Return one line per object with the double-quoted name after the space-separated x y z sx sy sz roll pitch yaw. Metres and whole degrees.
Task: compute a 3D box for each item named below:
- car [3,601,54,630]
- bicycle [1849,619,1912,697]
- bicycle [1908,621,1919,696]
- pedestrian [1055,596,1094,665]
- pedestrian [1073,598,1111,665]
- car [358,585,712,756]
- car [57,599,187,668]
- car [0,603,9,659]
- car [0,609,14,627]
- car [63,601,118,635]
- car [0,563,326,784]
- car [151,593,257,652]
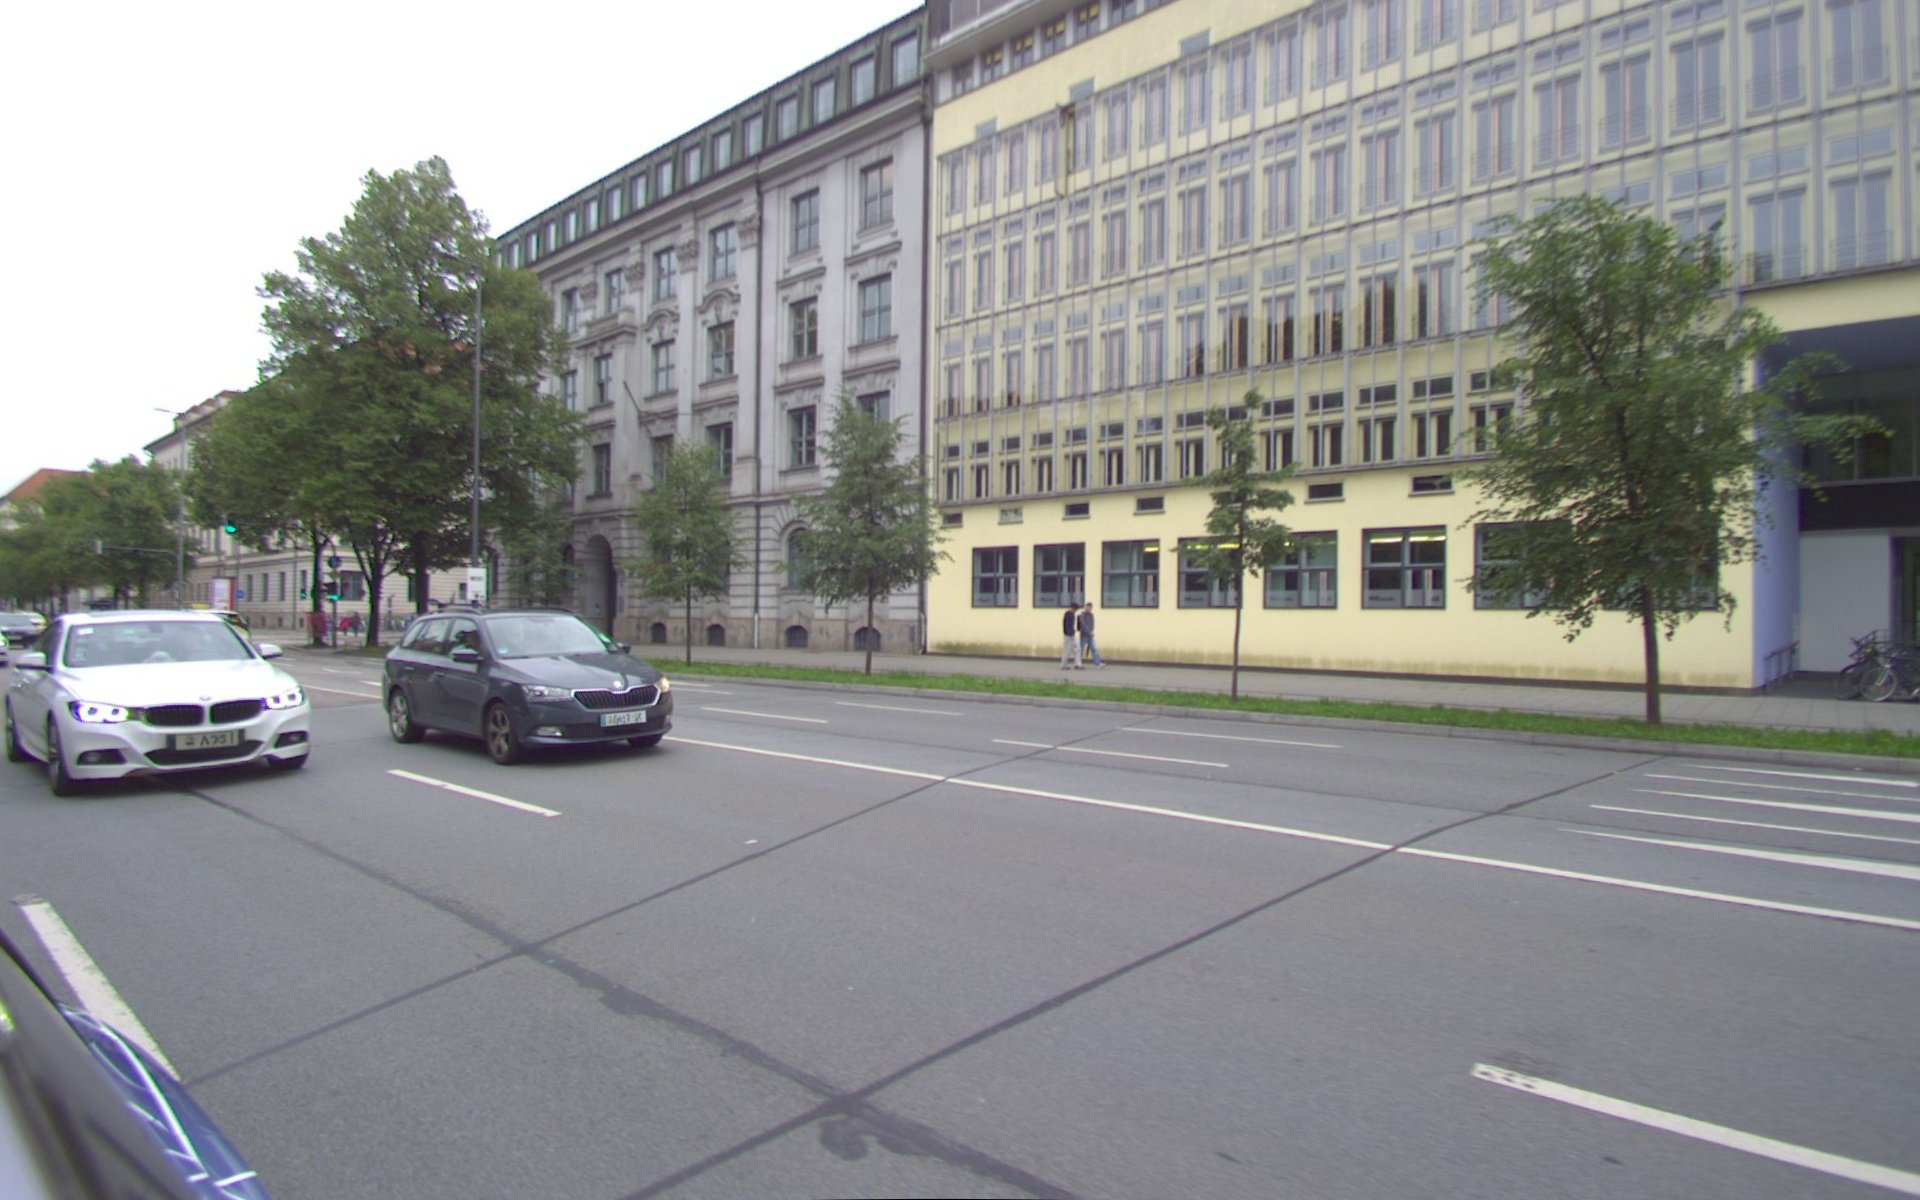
-54.437 0.938 59.114 4.822 1.554 1.808 -3 -3 43 "car"
17.037 1.041 18.765 0.637 1.328 1.990 0 0 36 "bicycle"
17.550 1.064 18.120 0.573 1.328 1.990 0 0 36 "bicycle"
3.041 0.800 26.854 0.835 1.790 0.609 0 0 42 "pedestrian"
3.562 0.832 27.341 0.835 1.790 0.609 0 0 42 "pedestrian"
-4.645 0.618 10.759 4.273 1.458 1.774 0 -1 41 "car"
-20.177 0.756 24.313 4.336 1.528 1.674 0 -1 41 "car"
-27.323 0.796 27.466 4.273 1.458 1.774 0 -1 41 "car"
-89.933 1.698 94.555 3.998 1.608 1.725 -1 -4 41 "car"
-39.311 0.813 45.756 1.745 1.434 4.753 4 -3 -41 "car"
-8.066 0.559 9.898 5.024 1.649 1.774 0 -1 41 "car"
-24.449 0.720 32.664 4.629 1.762 1.837 -1 -3 42 "car"
